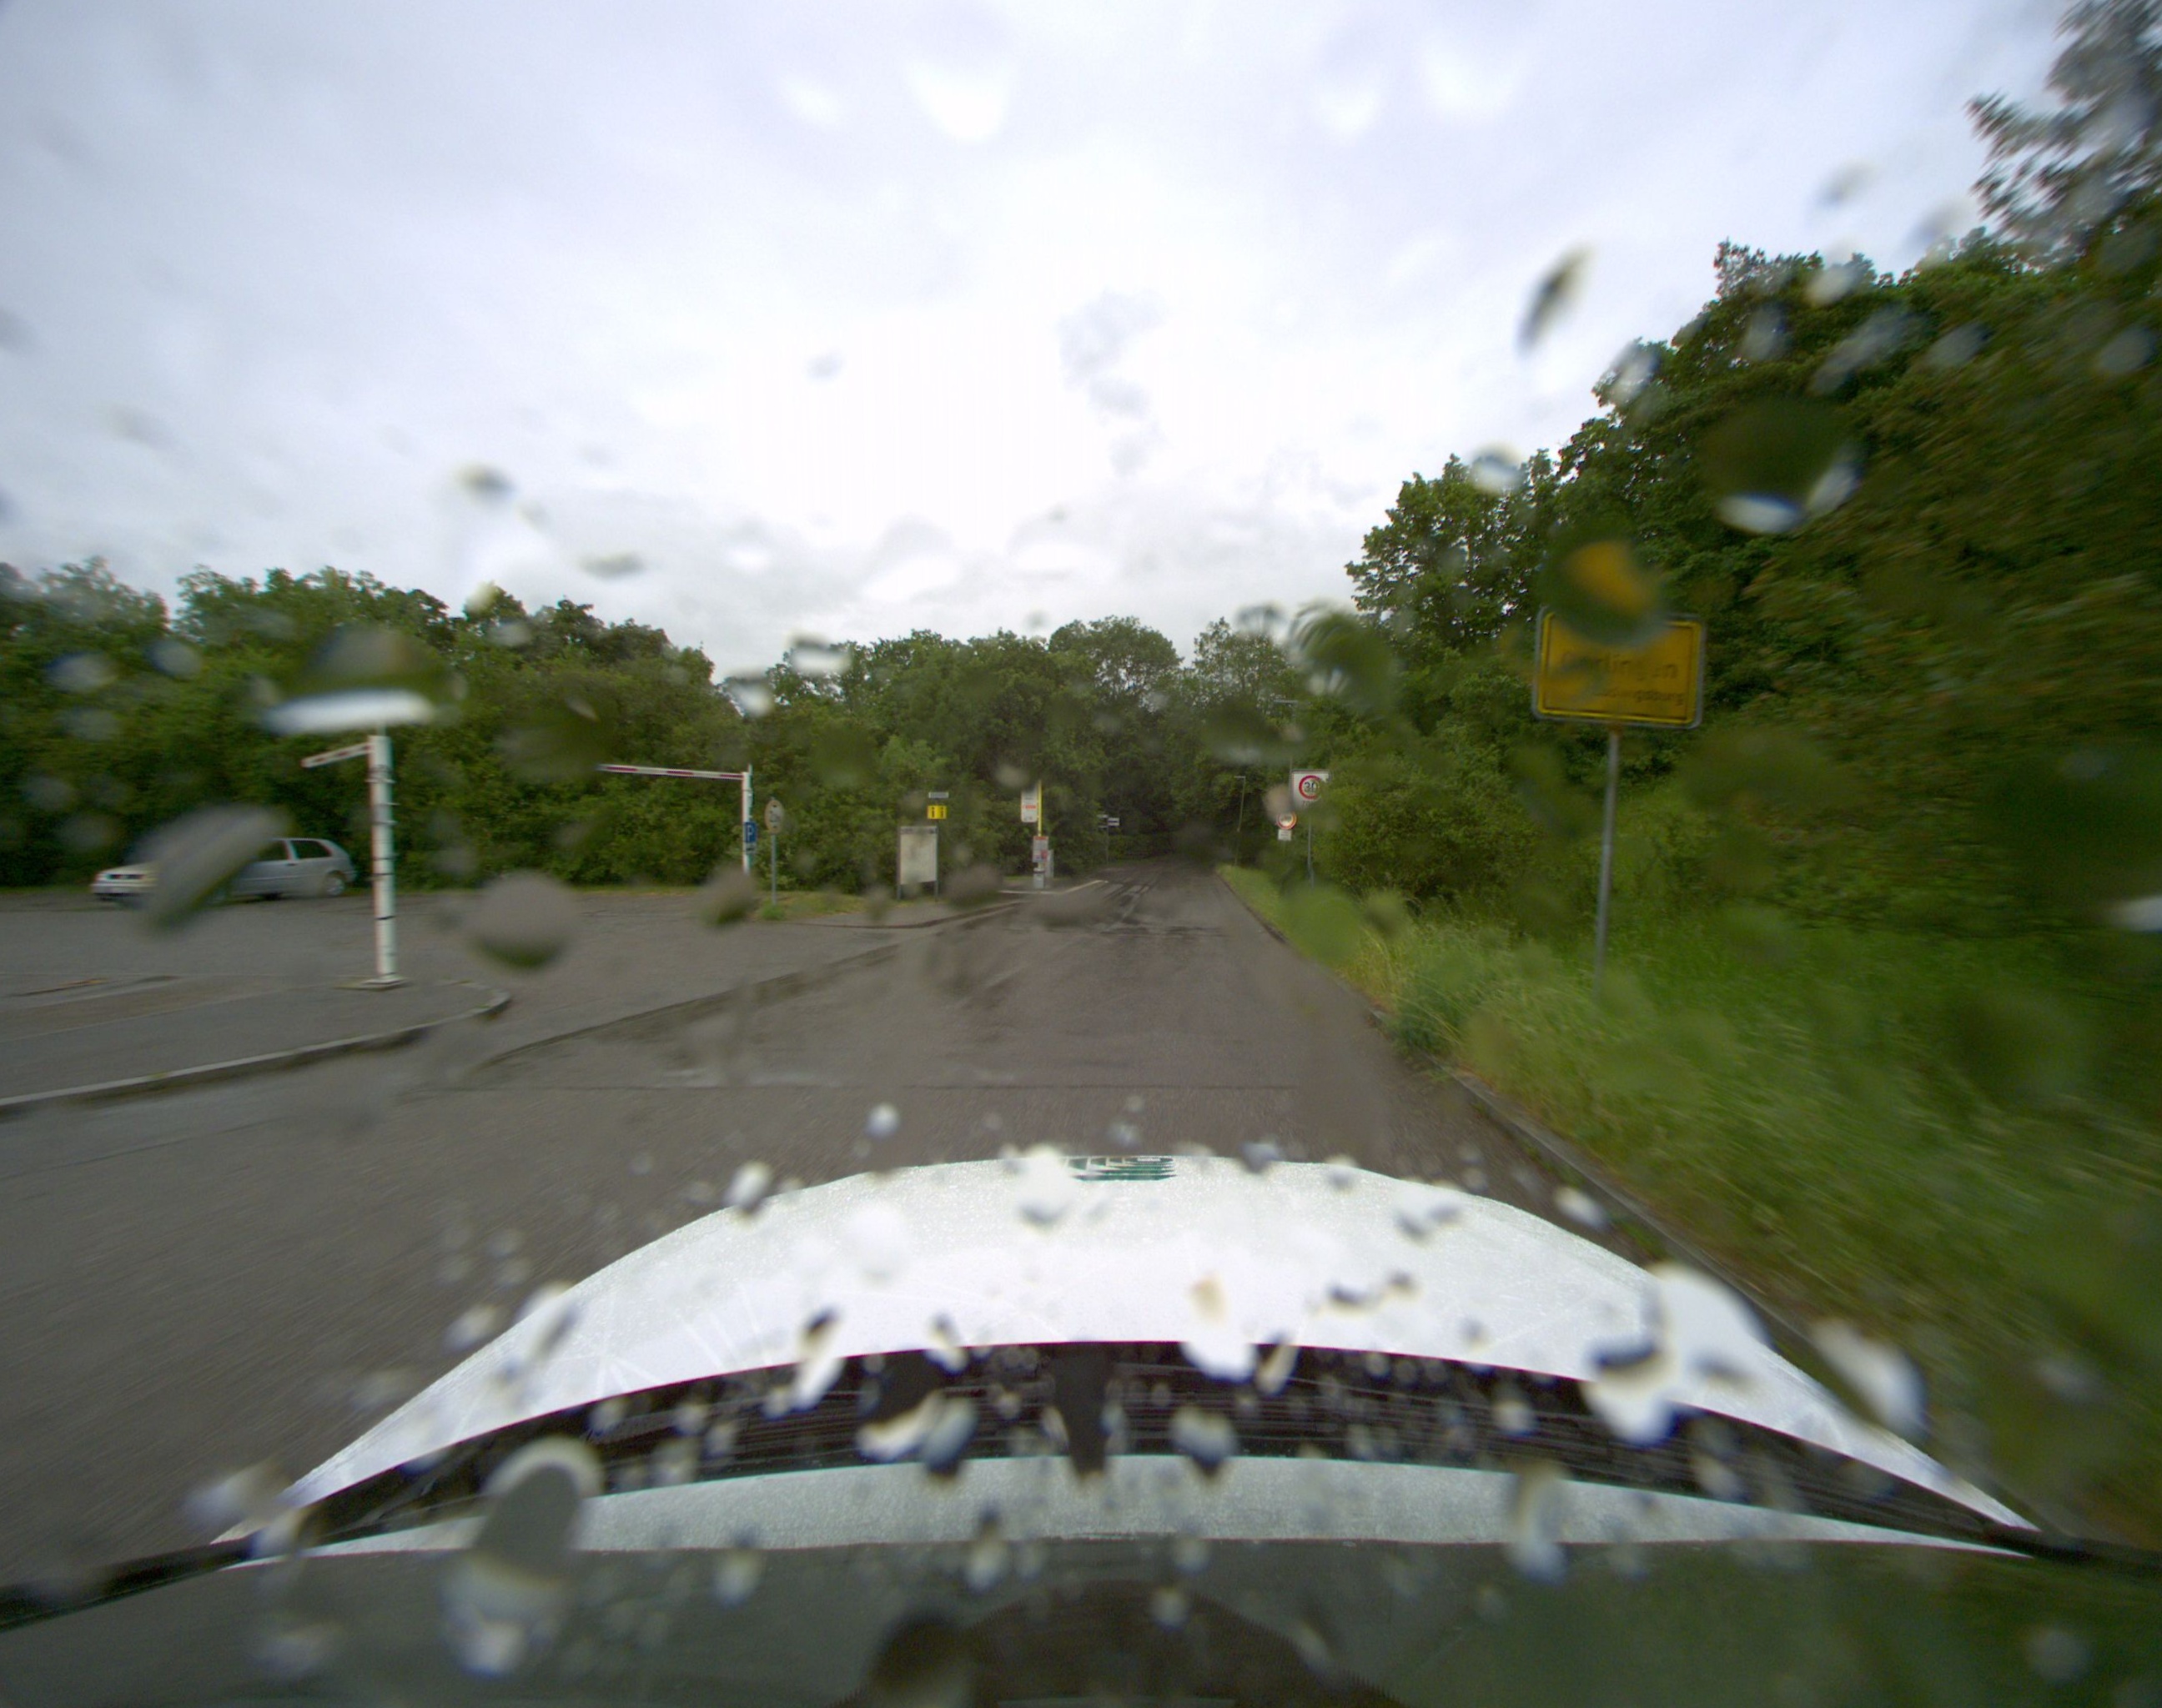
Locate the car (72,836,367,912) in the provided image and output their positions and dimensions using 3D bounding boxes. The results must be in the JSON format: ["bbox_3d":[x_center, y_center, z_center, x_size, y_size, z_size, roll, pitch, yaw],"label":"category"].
[{"bbox_3d":[-17.963,0.318,17.329,1.684,1.398,4.176,0,1,3],"label":"car"}]
